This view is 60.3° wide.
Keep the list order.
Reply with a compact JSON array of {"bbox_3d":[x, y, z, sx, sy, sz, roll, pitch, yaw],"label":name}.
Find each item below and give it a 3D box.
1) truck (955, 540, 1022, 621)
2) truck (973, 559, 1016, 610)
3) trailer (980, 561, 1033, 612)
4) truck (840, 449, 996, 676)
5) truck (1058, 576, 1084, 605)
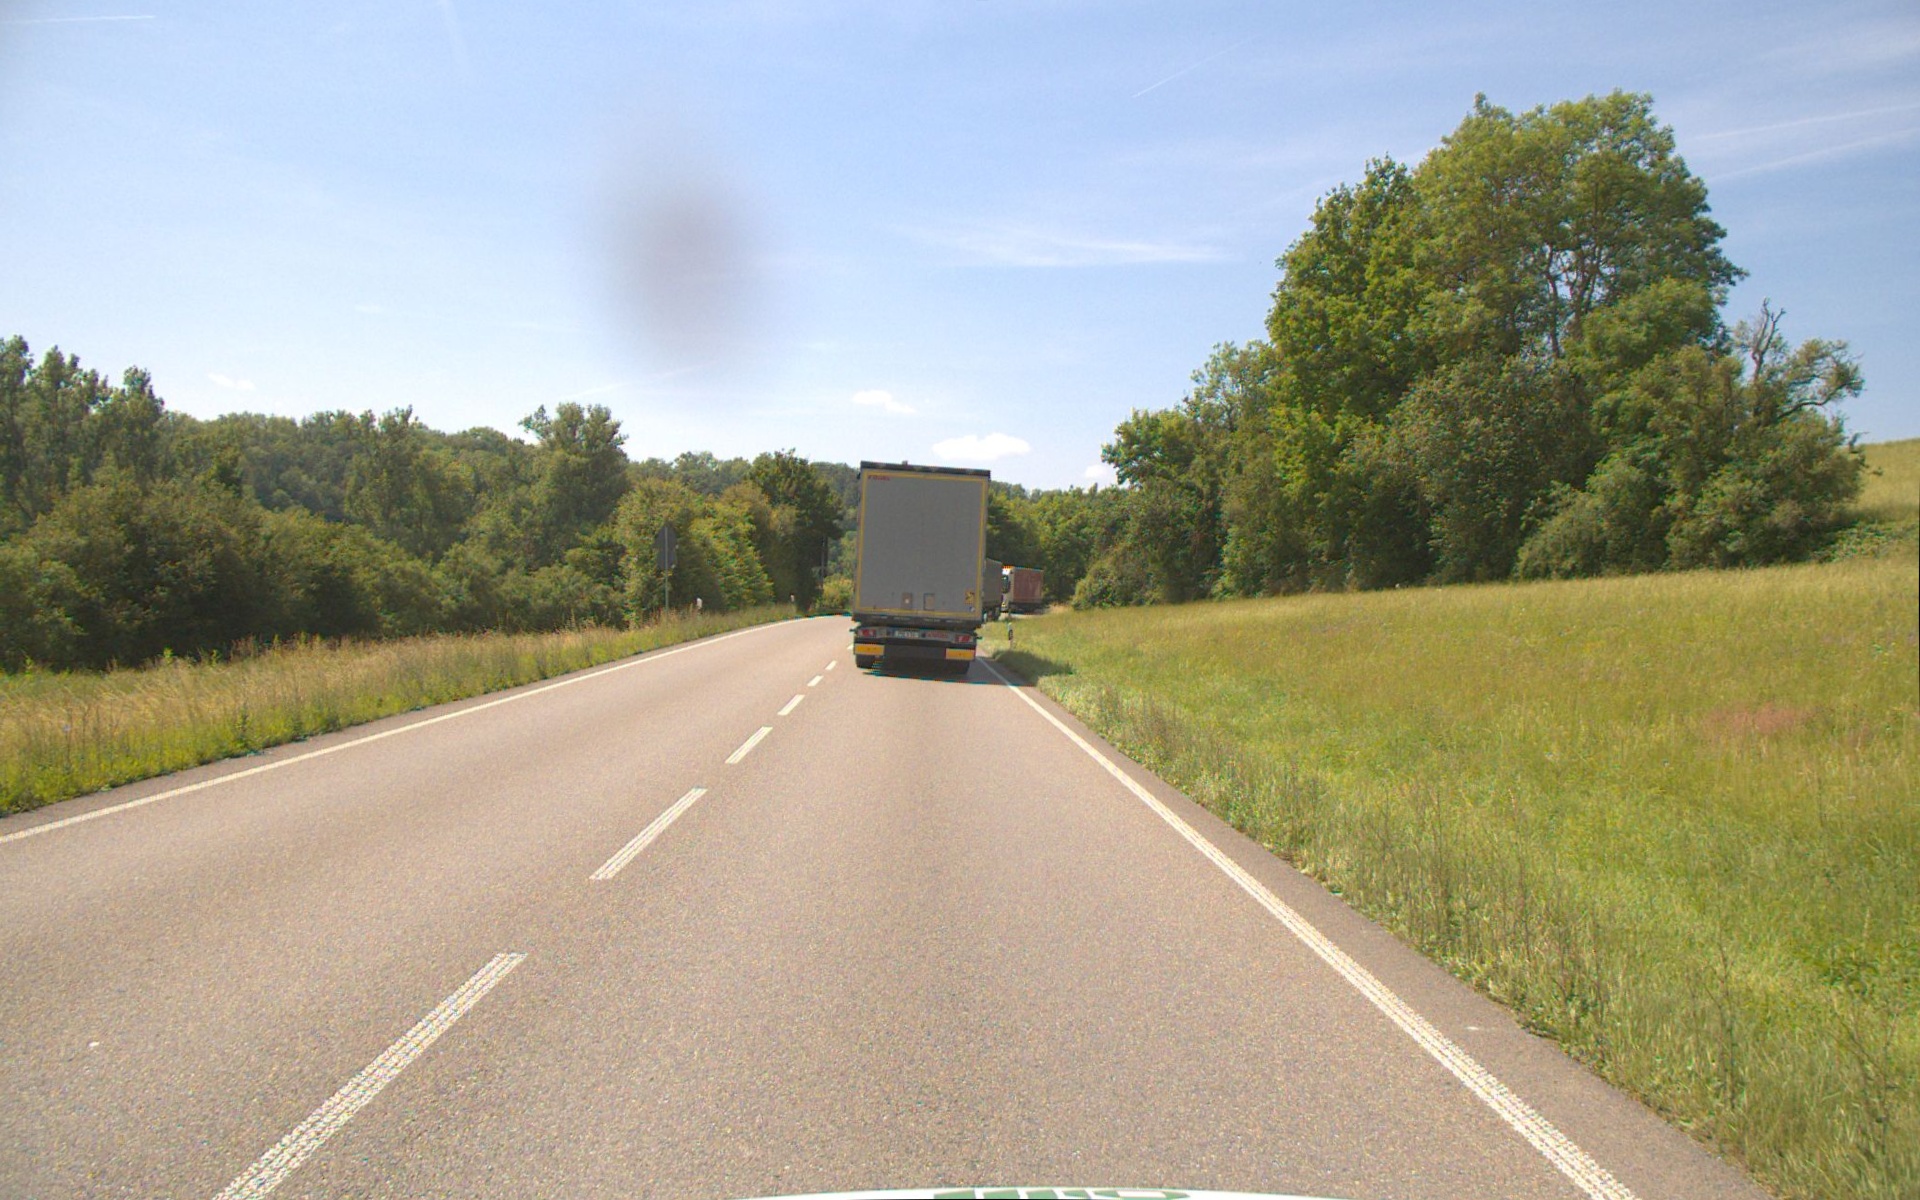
[{"bbox_3d":[2.041,-1.382,110.543,3.040,4.786,16.600,4,1,5],"label":"truck"},{"bbox_3d":[3.121,-1.323,147.630,2.506,4.185,5.804,6,0,10],"label":"truck"},{"bbox_3d":[4.468,-1.178,155.074,2.515,4.177,13.673,6,0,10],"label":"trailer"},{"bbox_3d":[-1.125,-0.723,38.949,2.746,4.139,15.317,3,0,-3],"label":"truck"},{"bbox_3d":[11.588,-0.956,172.363,2.304,2.875,5.062,-2,0,7],"label":"truck"}]
